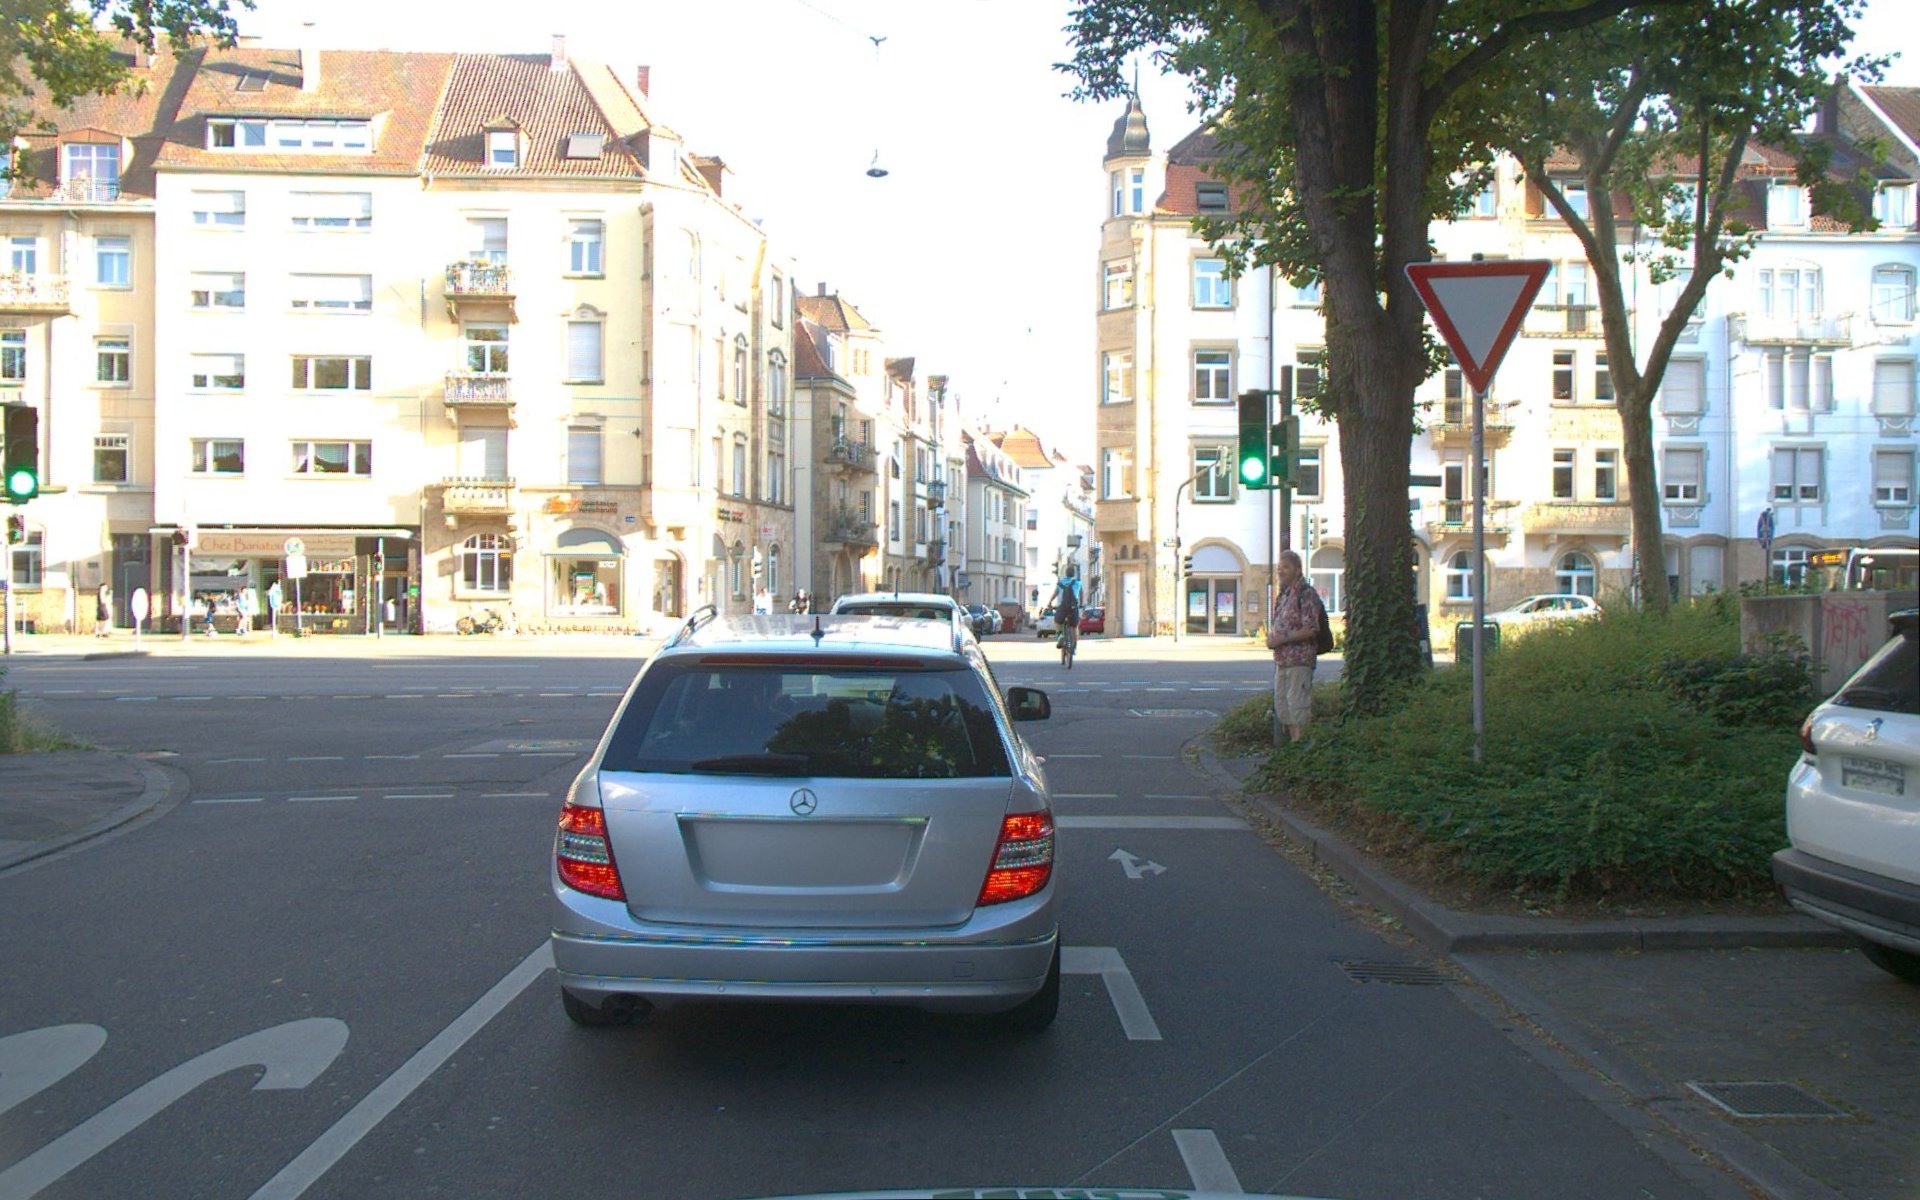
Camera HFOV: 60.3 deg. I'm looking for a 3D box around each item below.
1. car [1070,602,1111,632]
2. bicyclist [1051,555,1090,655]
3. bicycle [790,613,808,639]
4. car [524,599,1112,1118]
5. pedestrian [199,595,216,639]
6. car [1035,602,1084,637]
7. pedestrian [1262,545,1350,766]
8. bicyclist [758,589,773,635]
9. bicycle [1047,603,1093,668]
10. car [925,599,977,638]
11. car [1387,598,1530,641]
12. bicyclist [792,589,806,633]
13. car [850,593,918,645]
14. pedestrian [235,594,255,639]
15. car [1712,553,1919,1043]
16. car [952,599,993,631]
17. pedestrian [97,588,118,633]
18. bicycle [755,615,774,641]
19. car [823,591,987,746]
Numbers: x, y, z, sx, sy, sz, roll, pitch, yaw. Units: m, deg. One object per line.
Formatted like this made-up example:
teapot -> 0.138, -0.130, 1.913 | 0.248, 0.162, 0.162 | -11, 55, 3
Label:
car -> 7.506, 0.957, 94.946 | 1.684, 1.503, 4.004 | -4, 0, 13
bicyclist -> 2.040, 0.095, 30.625 | 0.633, 1.806, 0.831 | 1, 0, 0
bicycle -> -5.668, 0.910, 58.184 | 0.557, 0.849, 1.565 | 0, 0, -3
car -> -0.456, 0.745, 6.491 | 1.656, 1.454, 3.491 | 1, 0, -2
pedestrian -> -26.043, 0.582, 57.245 | 0.465, 1.537, 0.428 | 0, 0, -19
car -> 4.773, 0.902, 78.877 | 1.684, 1.504, 4.004 | -2, 0, 13
pedestrian -> 2.992, 0.471, 14.335 | 0.619, 1.877, 0.574 | 0, 0, -3
bicyclist -> -6.684, 0.405, 56.782 | 0.457, 1.541, 0.655 | 0, 0, -3
bicycle -> 2.031, 0.637, 30.734 | 0.727, 1.137, 2.013 | 1, 0, 1
car -> -0.378, 0.847, 77.114 | 1.650, 1.752, 4.004 | 0, 0, 11
car -> 12.940, 0.487, 43.018 | 3.295, 1.087, 1.380 | 0, 0, -1
bicyclist -> -5.668, 0.377, 58.174 | 0.457, 1.547, 0.693 | 0, 0, -3
car -> -2.973, 0.720, 65.493 | 1.896, 1.993, 4.153 | 0, 0, 9
pedestrian -> -25.075, 0.575, 57.978 | 0.498, 1.537, 0.536 | 0, 0, -6
car -> 4.816, 0.614, 5.981 | 3.413, 1.614, 1.709 | -1, 0, -6
car -> 0.751, 0.886, 95.380 | 1.615, 1.814, 3.866 | 0, -1, 12
pedestrian -> -28.971, 0.352, 56.206 | 0.556, 1.537, 0.499 | 0, 0, -18
bicycle -> -6.698, 0.959, 56.741 | 0.557, 0.849, 1.565 | 0, 0, -3
car -> -0.533, 0.629, 17.113 | 1.502, 1.415, 3.598 | 1, 0, -1
